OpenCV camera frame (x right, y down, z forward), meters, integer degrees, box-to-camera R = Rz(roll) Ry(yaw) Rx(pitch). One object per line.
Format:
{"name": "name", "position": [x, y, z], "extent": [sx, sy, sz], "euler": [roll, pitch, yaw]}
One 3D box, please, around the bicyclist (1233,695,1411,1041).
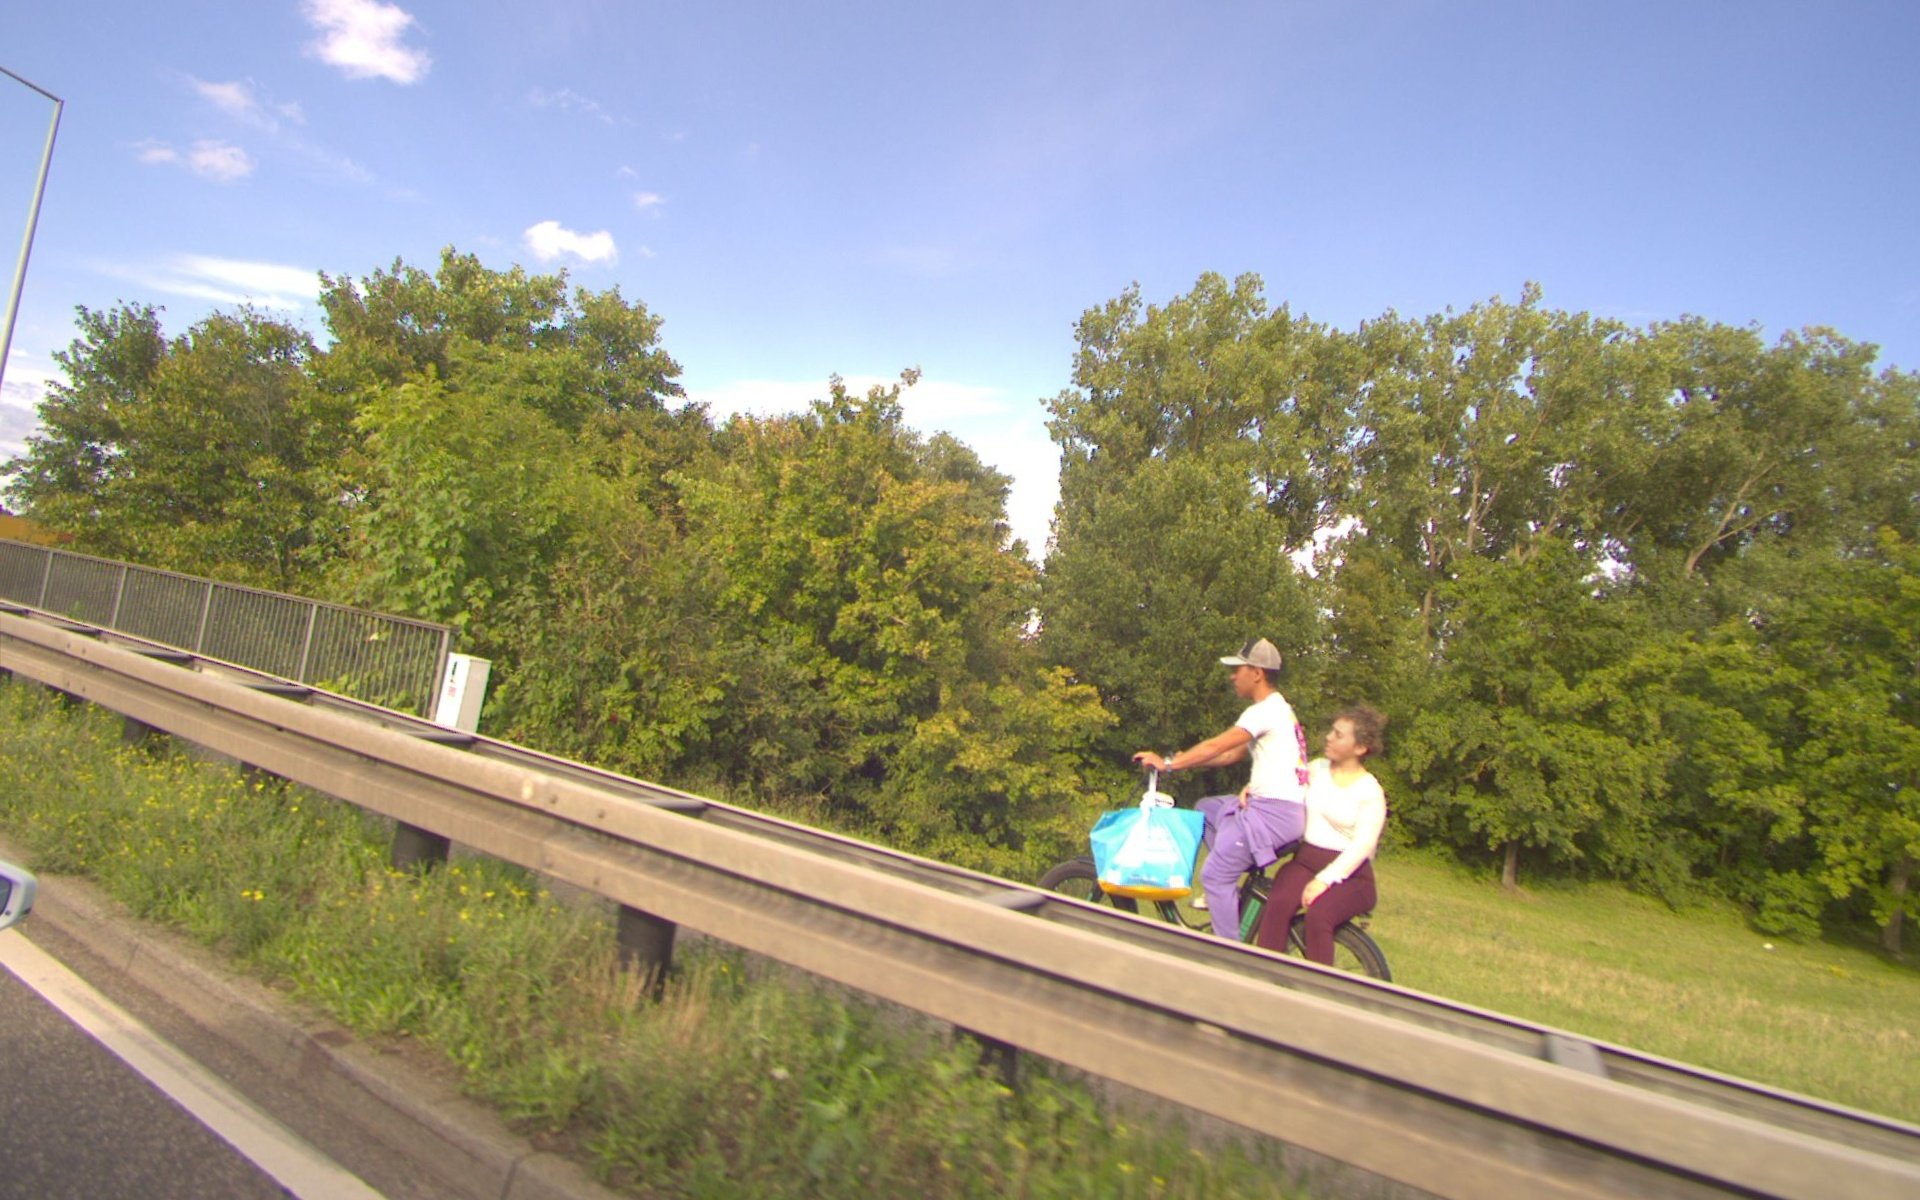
{"name": "bicyclist", "position": [1.588, 1.115, 4.386], "extent": [0.529, 1.316, 0.501], "euler": [7, -2, 27]}

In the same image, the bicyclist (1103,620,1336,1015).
{"name": "bicyclist", "position": [1.233, 0.950, 4.702], "extent": [0.741, 1.574, 0.709], "euler": [7, -2, 27]}

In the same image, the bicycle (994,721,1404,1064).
{"name": "bicycle", "position": [1.104, 1.264, 4.736], "extent": [1.667, 1.133, 0.597], "euler": [7, -2, 27]}
